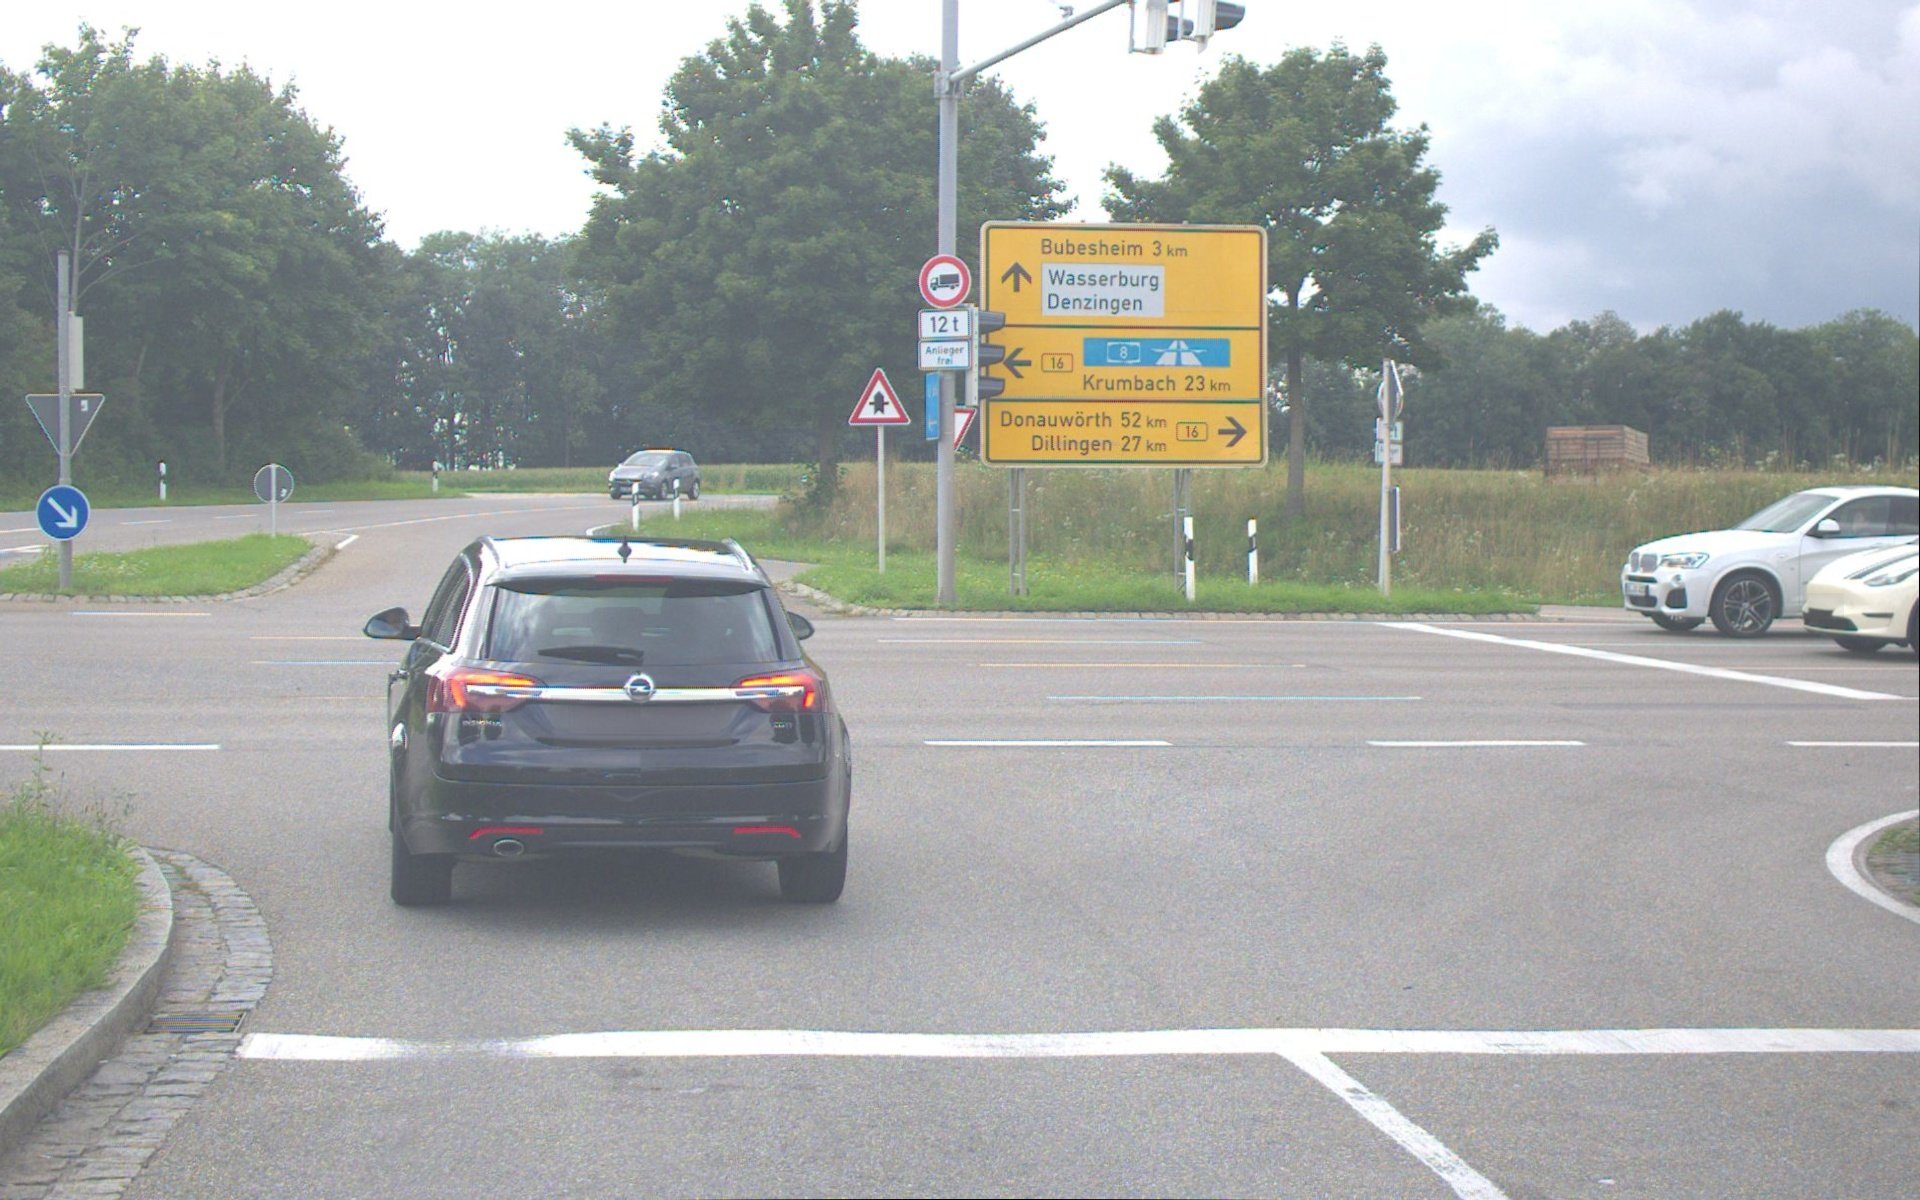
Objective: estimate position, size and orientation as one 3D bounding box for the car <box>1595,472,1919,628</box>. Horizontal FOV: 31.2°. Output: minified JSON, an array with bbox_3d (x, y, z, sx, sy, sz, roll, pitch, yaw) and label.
[{"bbox_3d":[9.355,-0.537,37.644,4.259,1.623,2.001,0,1,-13],"label":"car"}]

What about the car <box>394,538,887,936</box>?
[{"bbox_3d":[-1.496,0.473,14.847,1.807,1.446,4.274,1,1,-9],"label":"car"}]

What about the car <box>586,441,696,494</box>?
[{"bbox_3d":[-9.625,-4.010,104.080,1.995,1.530,3.997,1,2,16],"label":"car"}]

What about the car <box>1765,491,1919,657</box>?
[{"bbox_3d":[10.587,-0.252,33.904,4.731,1.559,2.001,0,1,-13],"label":"car"}]
